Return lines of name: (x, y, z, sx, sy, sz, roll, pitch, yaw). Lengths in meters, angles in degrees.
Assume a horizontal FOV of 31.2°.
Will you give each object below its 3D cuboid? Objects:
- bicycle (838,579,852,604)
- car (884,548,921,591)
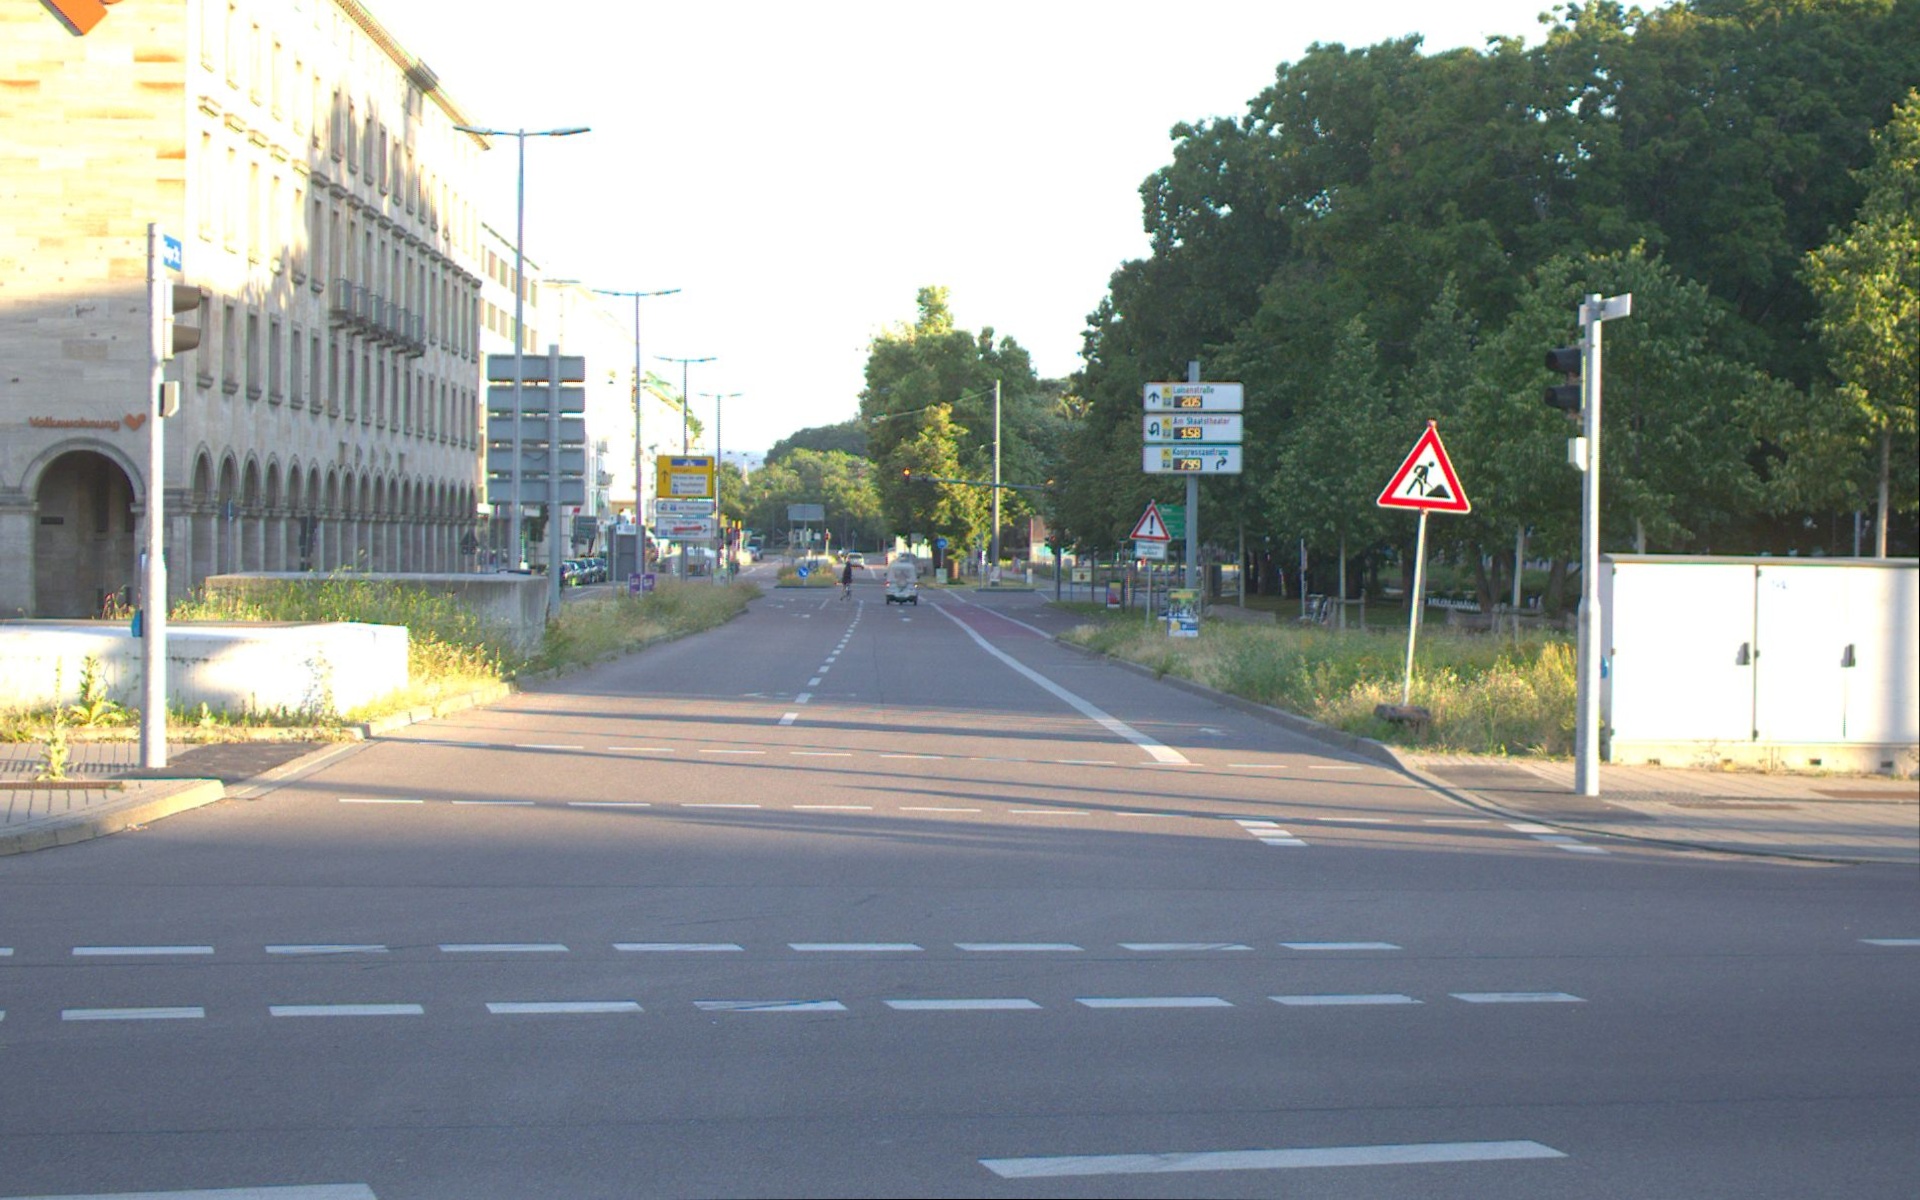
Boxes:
bicycle: (-5.101, -0.370, 152.690, 0.637, 1.065, 2.069, 1, 1, -2)
car: (-2.382, -1.282, 143.590, 1.459, 1.774, 2.564, 1, 1, 1)
